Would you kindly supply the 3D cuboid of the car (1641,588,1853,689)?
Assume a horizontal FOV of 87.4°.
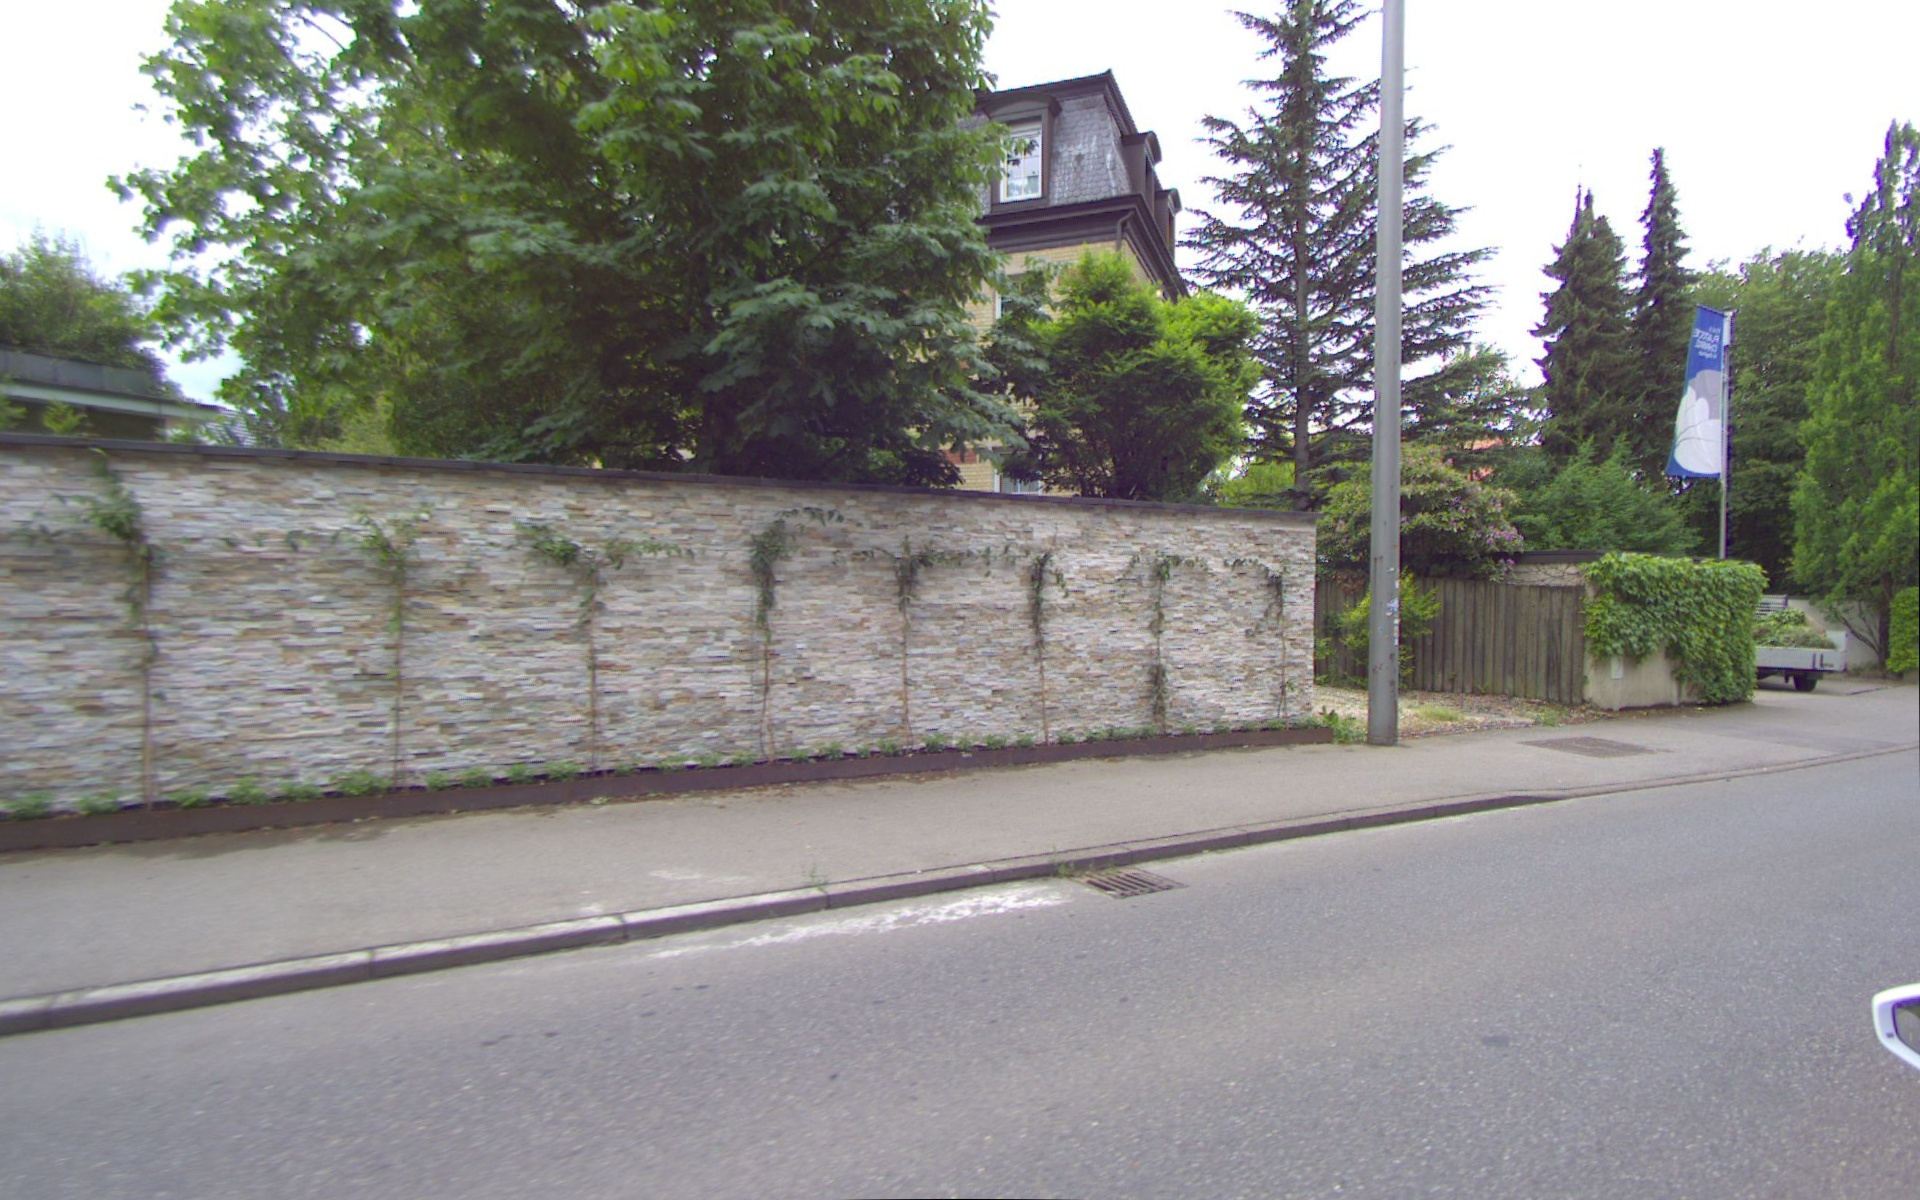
[{"bbox_3d":[18.509,0.839,24.022,2.378,2.100,5.361,1,0,20],"label":"car"}]
